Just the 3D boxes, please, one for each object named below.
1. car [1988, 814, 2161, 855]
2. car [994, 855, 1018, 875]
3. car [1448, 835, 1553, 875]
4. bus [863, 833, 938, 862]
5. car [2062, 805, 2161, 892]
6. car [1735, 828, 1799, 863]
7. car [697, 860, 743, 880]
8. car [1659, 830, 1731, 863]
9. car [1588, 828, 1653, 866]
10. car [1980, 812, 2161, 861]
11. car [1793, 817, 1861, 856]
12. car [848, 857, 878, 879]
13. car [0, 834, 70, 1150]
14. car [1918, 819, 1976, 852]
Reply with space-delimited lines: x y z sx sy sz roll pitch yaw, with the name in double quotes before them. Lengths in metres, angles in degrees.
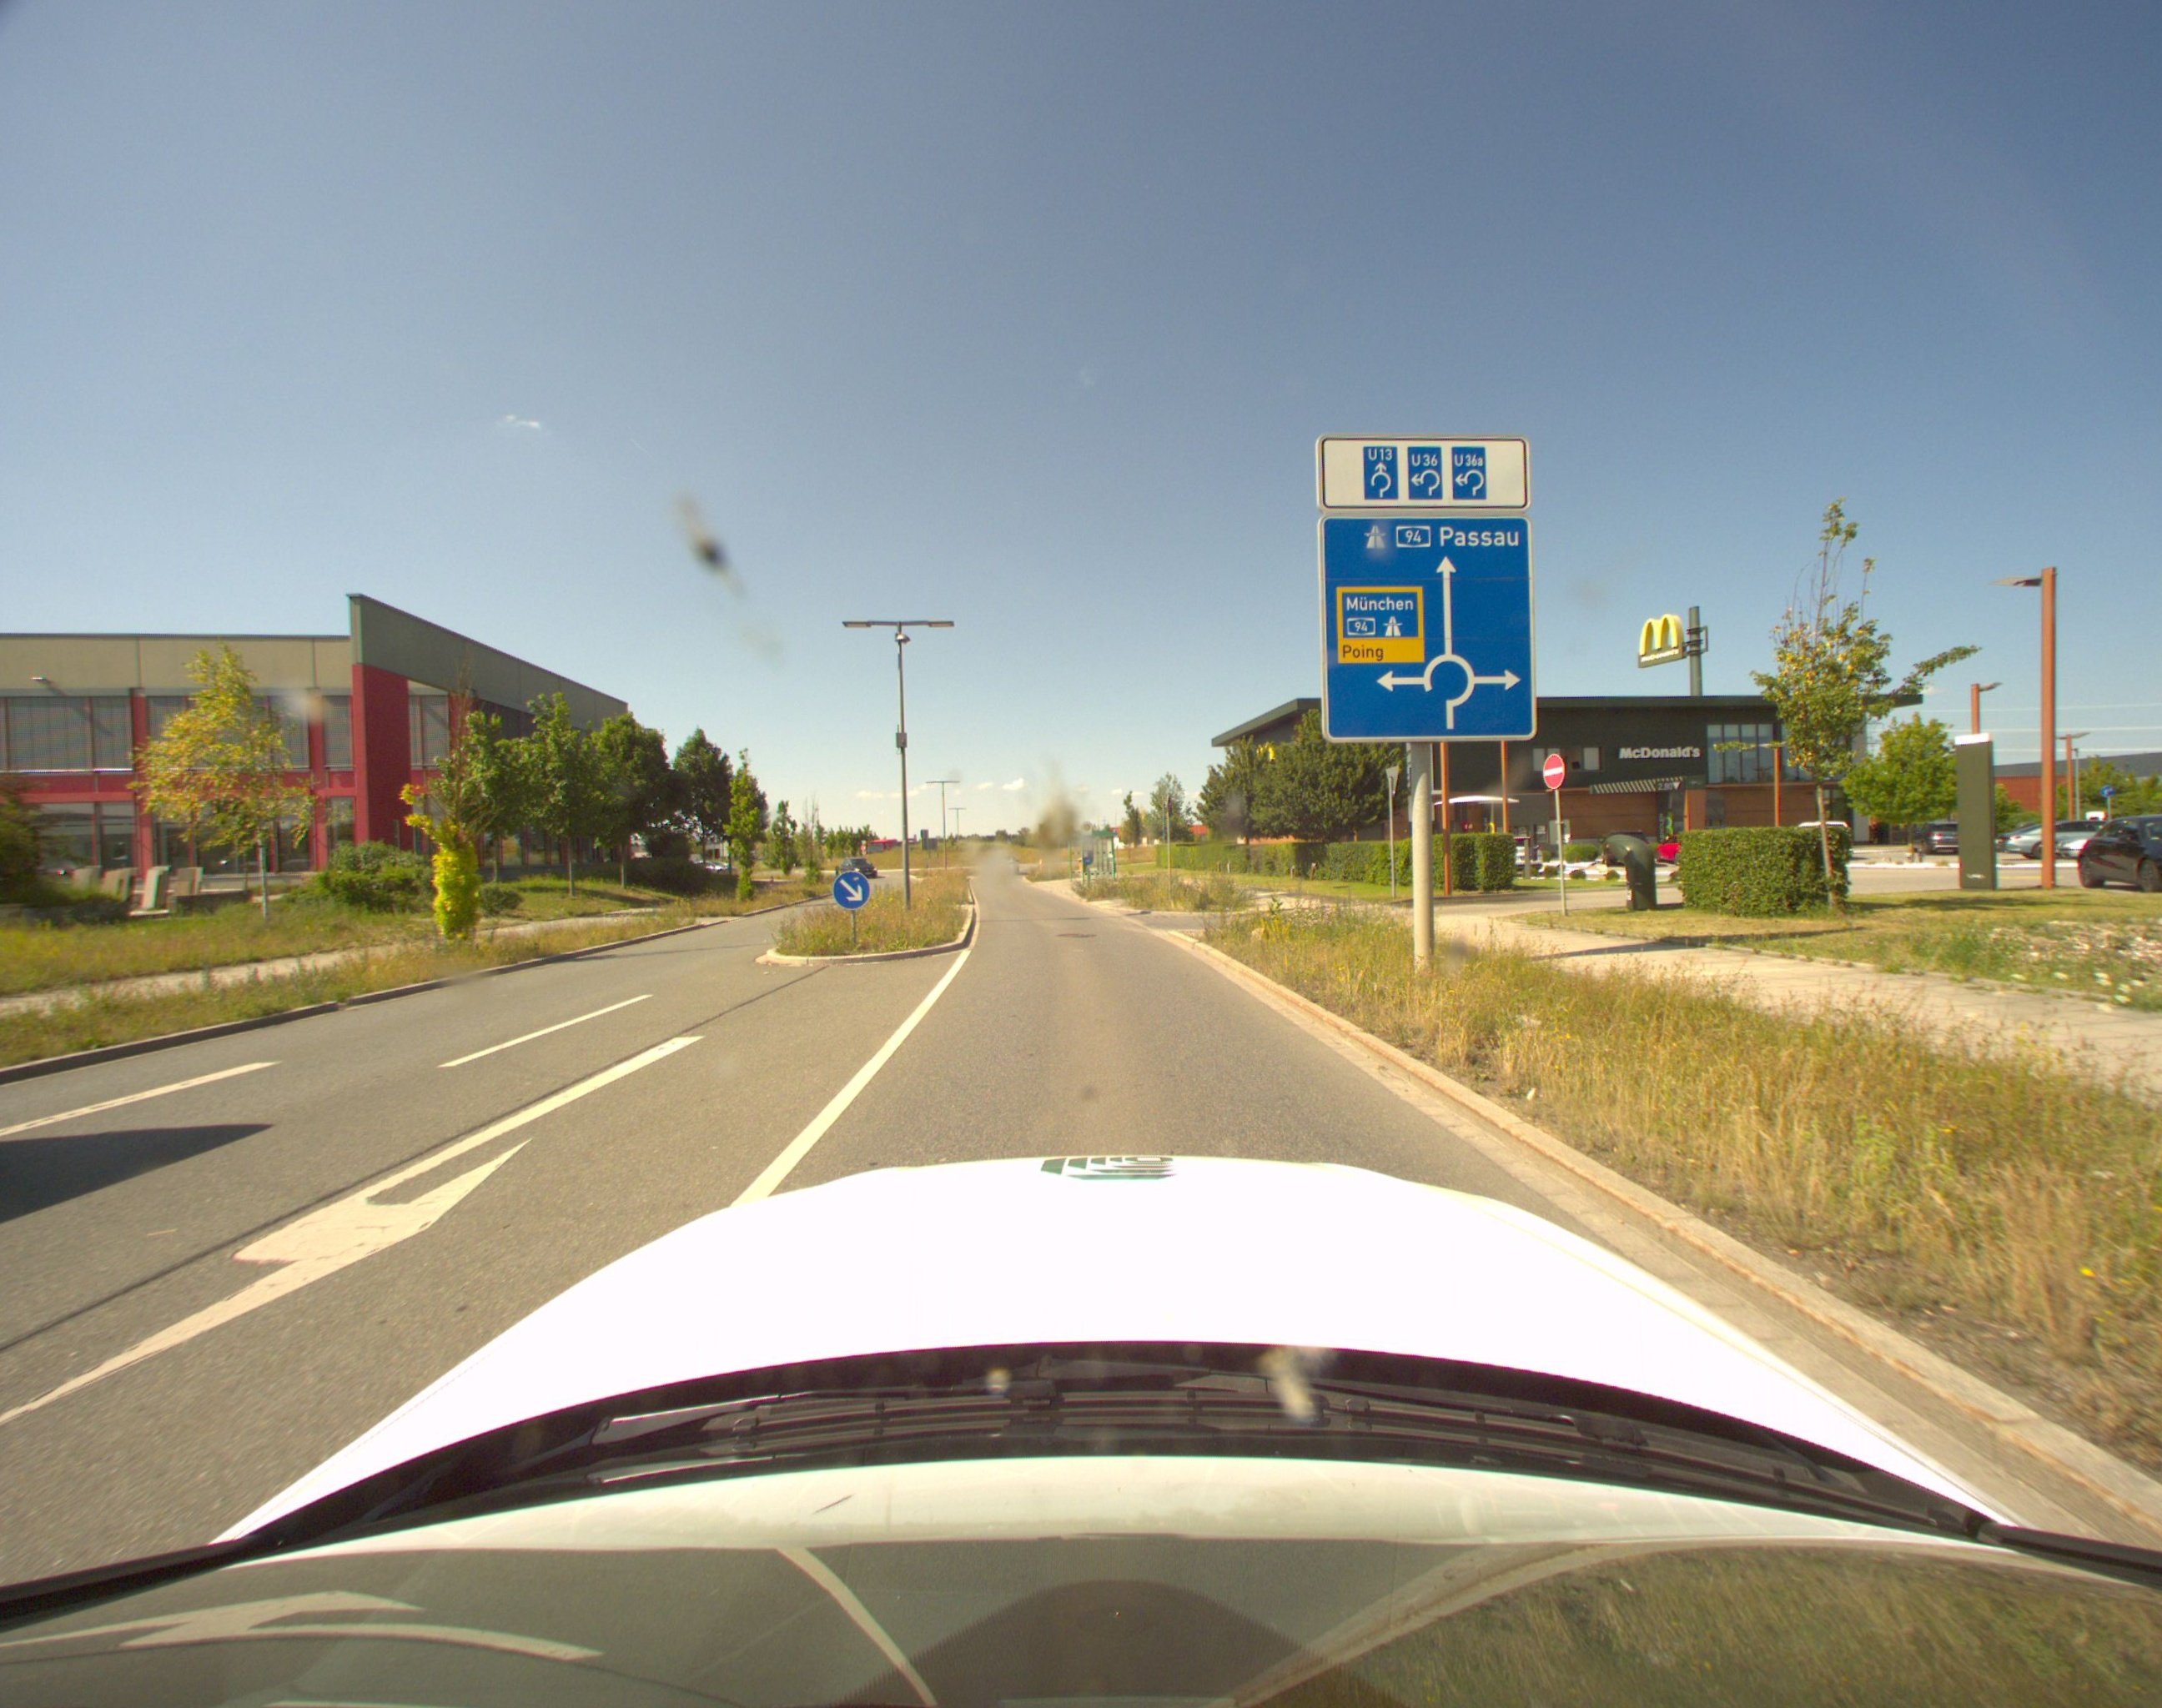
"car" 37.931 -0.718 31.088 4.126 1.373 1.810 -2 0 39
"car" -5.762 0.845 62.174 1.615 1.434 3.782 -2 0 -8
"car" 16.854 0.040 32.913 1.791 1.434 3.989 -2 0 -8
"bus" -22.781 -0.873 103.878 2.763 3.078 12.269 -2 2 21
"car" 19.997 -0.159 14.815 1.680 1.462 4.196 -2 0 35
"car" 32.283 -0.431 38.423 1.775 1.513 4.026 -2 0 33
"car" -33.330 1.467 75.126 4.565 1.626 1.976 0 2 39
"car" 29.004 -0.374 38.625 1.777 1.434 4.022 -2 0 23
"car" 25.031 -0.346 37.890 1.777 1.604 4.022 -2 0 23
"car" 31.994 -0.548 26.120 3.948 1.373 1.810 -2 0 39
"car" 35.898 -0.849 39.297 1.775 1.702 4.026 -2 0 34
"car" -16.921 1.103 63.132 1.765 1.543 4.211 -4 0 -20
"car" -7.018 0.842 2.661 1.947 1.794 4.420 -3 0 -4
"car" 42.733 -0.918 40.165 4.022 1.520 1.777 -2 0 -42
